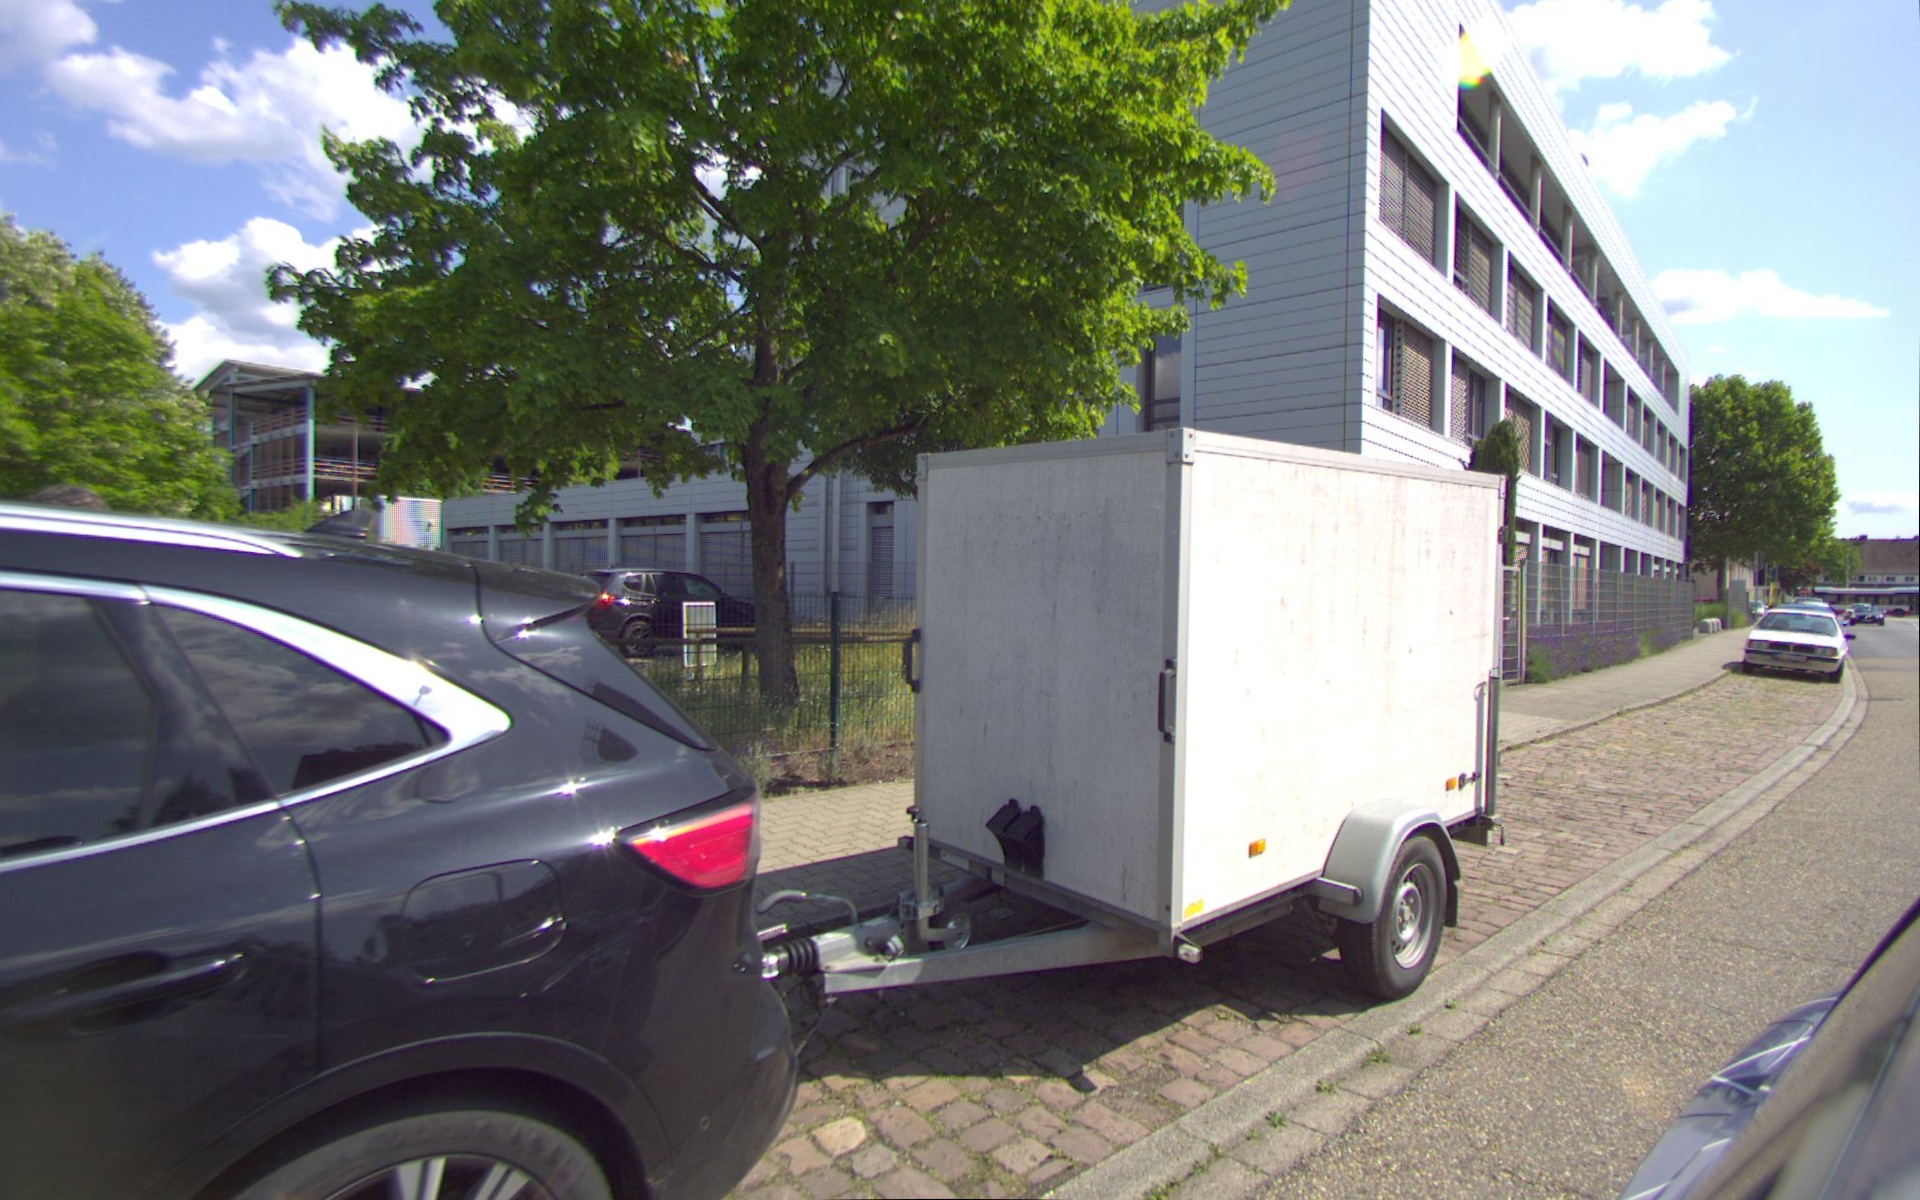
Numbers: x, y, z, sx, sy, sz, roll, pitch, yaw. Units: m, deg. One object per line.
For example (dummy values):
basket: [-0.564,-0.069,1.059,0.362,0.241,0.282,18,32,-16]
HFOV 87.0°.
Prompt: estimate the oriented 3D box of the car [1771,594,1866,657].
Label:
car: [24.494,0.673,28.999,1.806,1.523,3.945,6,4,38]

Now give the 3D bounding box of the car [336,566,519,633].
car: [-14.252,-0.015,27.224,1.949,1.672,3.940,-1,0,41]

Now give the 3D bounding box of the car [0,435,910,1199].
car: [-2.494,0.605,1.319,4.626,1.703,1.866,0,3,-39]

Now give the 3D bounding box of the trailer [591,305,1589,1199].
trailer: [0.795,0.377,4.049,3.878,2.092,1.749,0,4,-41]

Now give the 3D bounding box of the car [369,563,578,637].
car: [-12.144,-0.011,25.515,1.728,1.701,4.468,-1,0,40]

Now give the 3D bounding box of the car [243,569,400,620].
car: [-20.776,-0.203,33.018,1.948,1.567,3.943,-1,1,40]

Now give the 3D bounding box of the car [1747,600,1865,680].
car: [18.023,0.777,21.492,1.673,1.384,4.095,6,4,42]

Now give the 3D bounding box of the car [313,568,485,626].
car: [-16.249,-0.117,29.454,1.947,1.567,3.945,-1,1,39]

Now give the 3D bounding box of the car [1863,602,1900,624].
car: [61.575,0.852,67.669,1.655,1.302,3.688,5,3,41]

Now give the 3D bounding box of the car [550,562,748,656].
car: [-6.042,0.162,19.858,1.819,1.668,3.287,0,0,40]

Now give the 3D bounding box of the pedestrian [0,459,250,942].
pedestrian: [-3.363,0.342,4.087,0.727,1.714,0.722,0,2,-41]

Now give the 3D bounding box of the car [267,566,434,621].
car: [-18.524,-0.217,30.884,1.948,1.567,3.943,-1,1,40]
